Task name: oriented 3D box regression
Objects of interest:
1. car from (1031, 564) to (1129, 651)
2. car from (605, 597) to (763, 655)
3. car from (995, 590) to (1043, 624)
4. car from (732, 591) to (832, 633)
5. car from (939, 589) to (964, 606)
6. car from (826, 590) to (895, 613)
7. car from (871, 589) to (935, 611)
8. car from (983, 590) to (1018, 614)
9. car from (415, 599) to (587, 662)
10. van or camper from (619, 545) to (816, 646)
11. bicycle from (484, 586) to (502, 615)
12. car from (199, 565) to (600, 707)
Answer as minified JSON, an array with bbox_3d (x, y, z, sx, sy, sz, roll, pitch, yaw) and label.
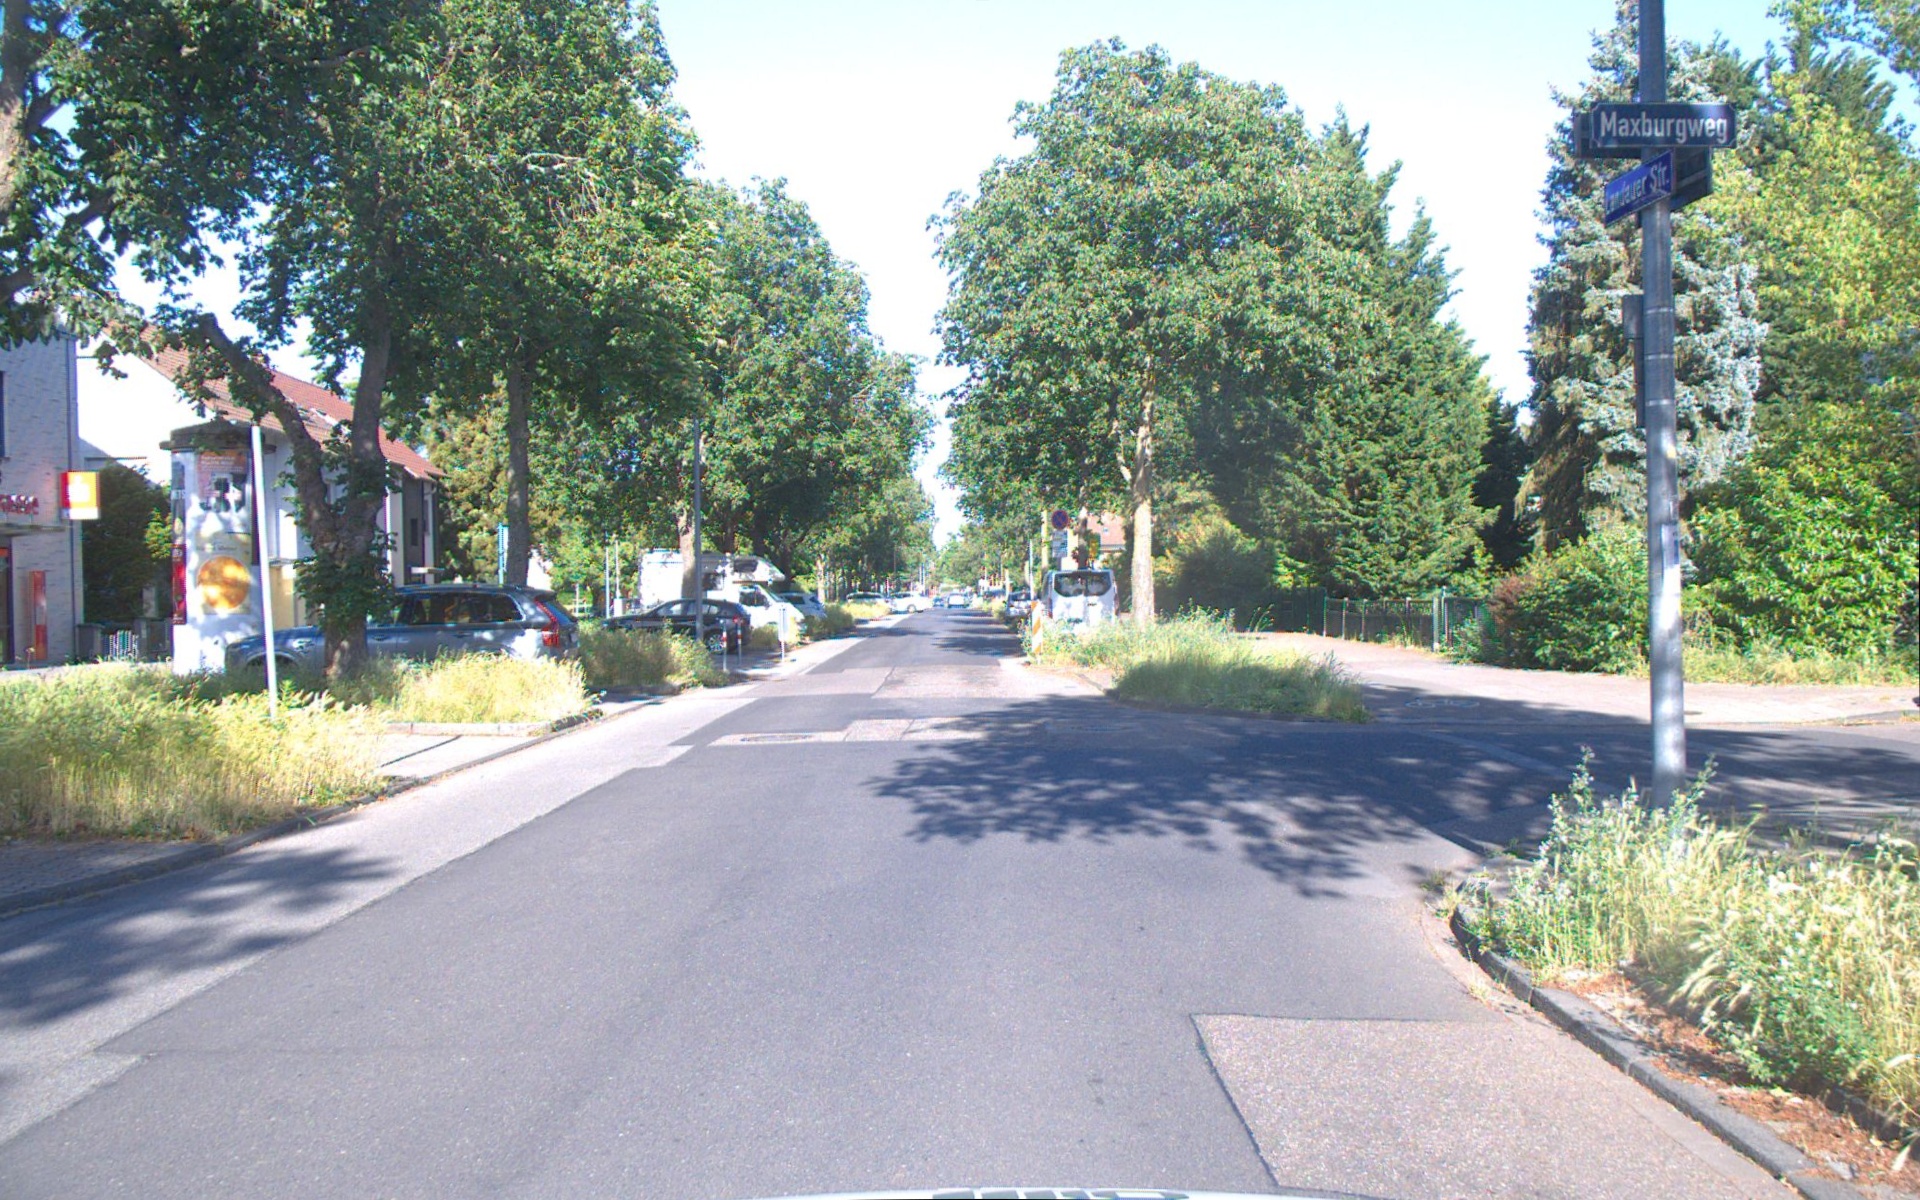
[{"bbox_3d":[3.025,0.193,42.603,1.953,2.049,5.194,2,0,-1],"label":"car"},{"bbox_3d":[-7.385,0.694,44.509,3.903,1.475,1.640,1,-1,3],"label":"car"},{"bbox_3d":[2.874,0.358,80.139,1.951,1.537,4.003,-2,-1,7],"label":"car"},{"bbox_3d":[-7.298,0.477,68.063,3.906,1.690,1.966,-1,0,-2],"label":"car"},{"bbox_3d":[-0.802,-0.242,154.410,1.955,1.534,3.654,2,0,-5],"label":"car"},{"bbox_3d":[-6.880,0.109,114.335,4.575,1.530,2.000,-1,0,1],"label":"car"},{"bbox_3d":[-4.009,0.004,116.293,4.121,1.480,2.001,-1,0,16],"label":"car"},{"bbox_3d":[2.921,0.172,119.421,1.955,1.650,4.376,2,0,-6],"label":"car"},{"bbox_3d":[-11.602,0.762,42.003,3.910,1.569,1.868,0,0,-6],"label":"car"},{"bbox_3d":[-7.468,-0.129,51.332,5.656,2.854,2.000,2,-1,1],"label":"van or camper"},{"bbox_3d":[-20.570,0.013,72.809,0.692,1.197,4.038,-1,1,-16],"label":"bicycle"},{"bbox_3d":[-7.805,0.504,23.471,4.961,1.758,1.998,2,-1,-4],"label":"car"}]
